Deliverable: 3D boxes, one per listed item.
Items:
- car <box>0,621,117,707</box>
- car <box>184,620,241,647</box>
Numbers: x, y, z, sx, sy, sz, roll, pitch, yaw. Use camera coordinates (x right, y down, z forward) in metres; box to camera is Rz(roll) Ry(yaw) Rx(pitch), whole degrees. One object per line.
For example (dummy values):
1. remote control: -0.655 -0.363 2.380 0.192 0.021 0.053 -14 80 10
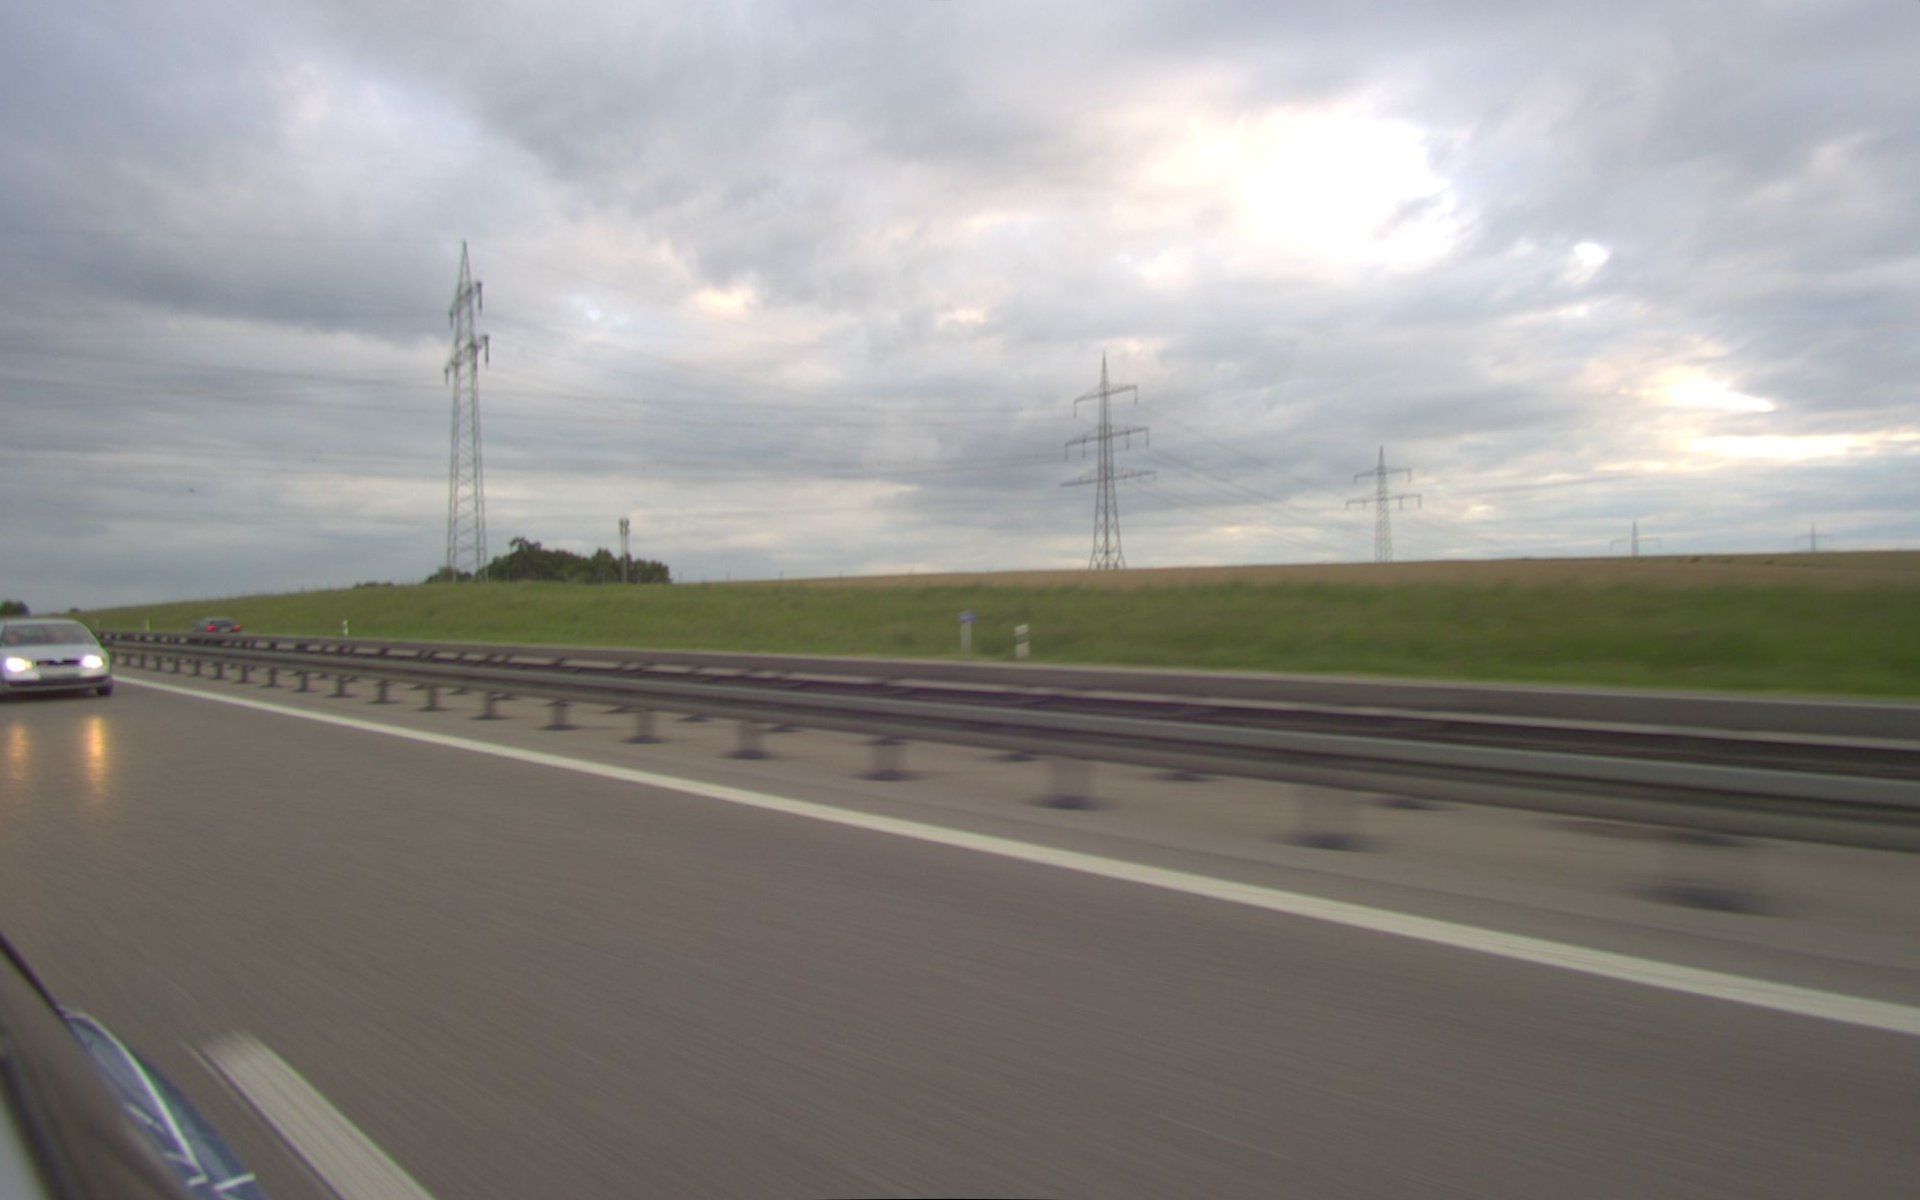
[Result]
1. car: -16.866 1.082 18.378 4.597 1.400 1.572 -1 -2 40
2. car: -42.581 1.899 57.617 4.008 1.370 1.657 -2 2 40
